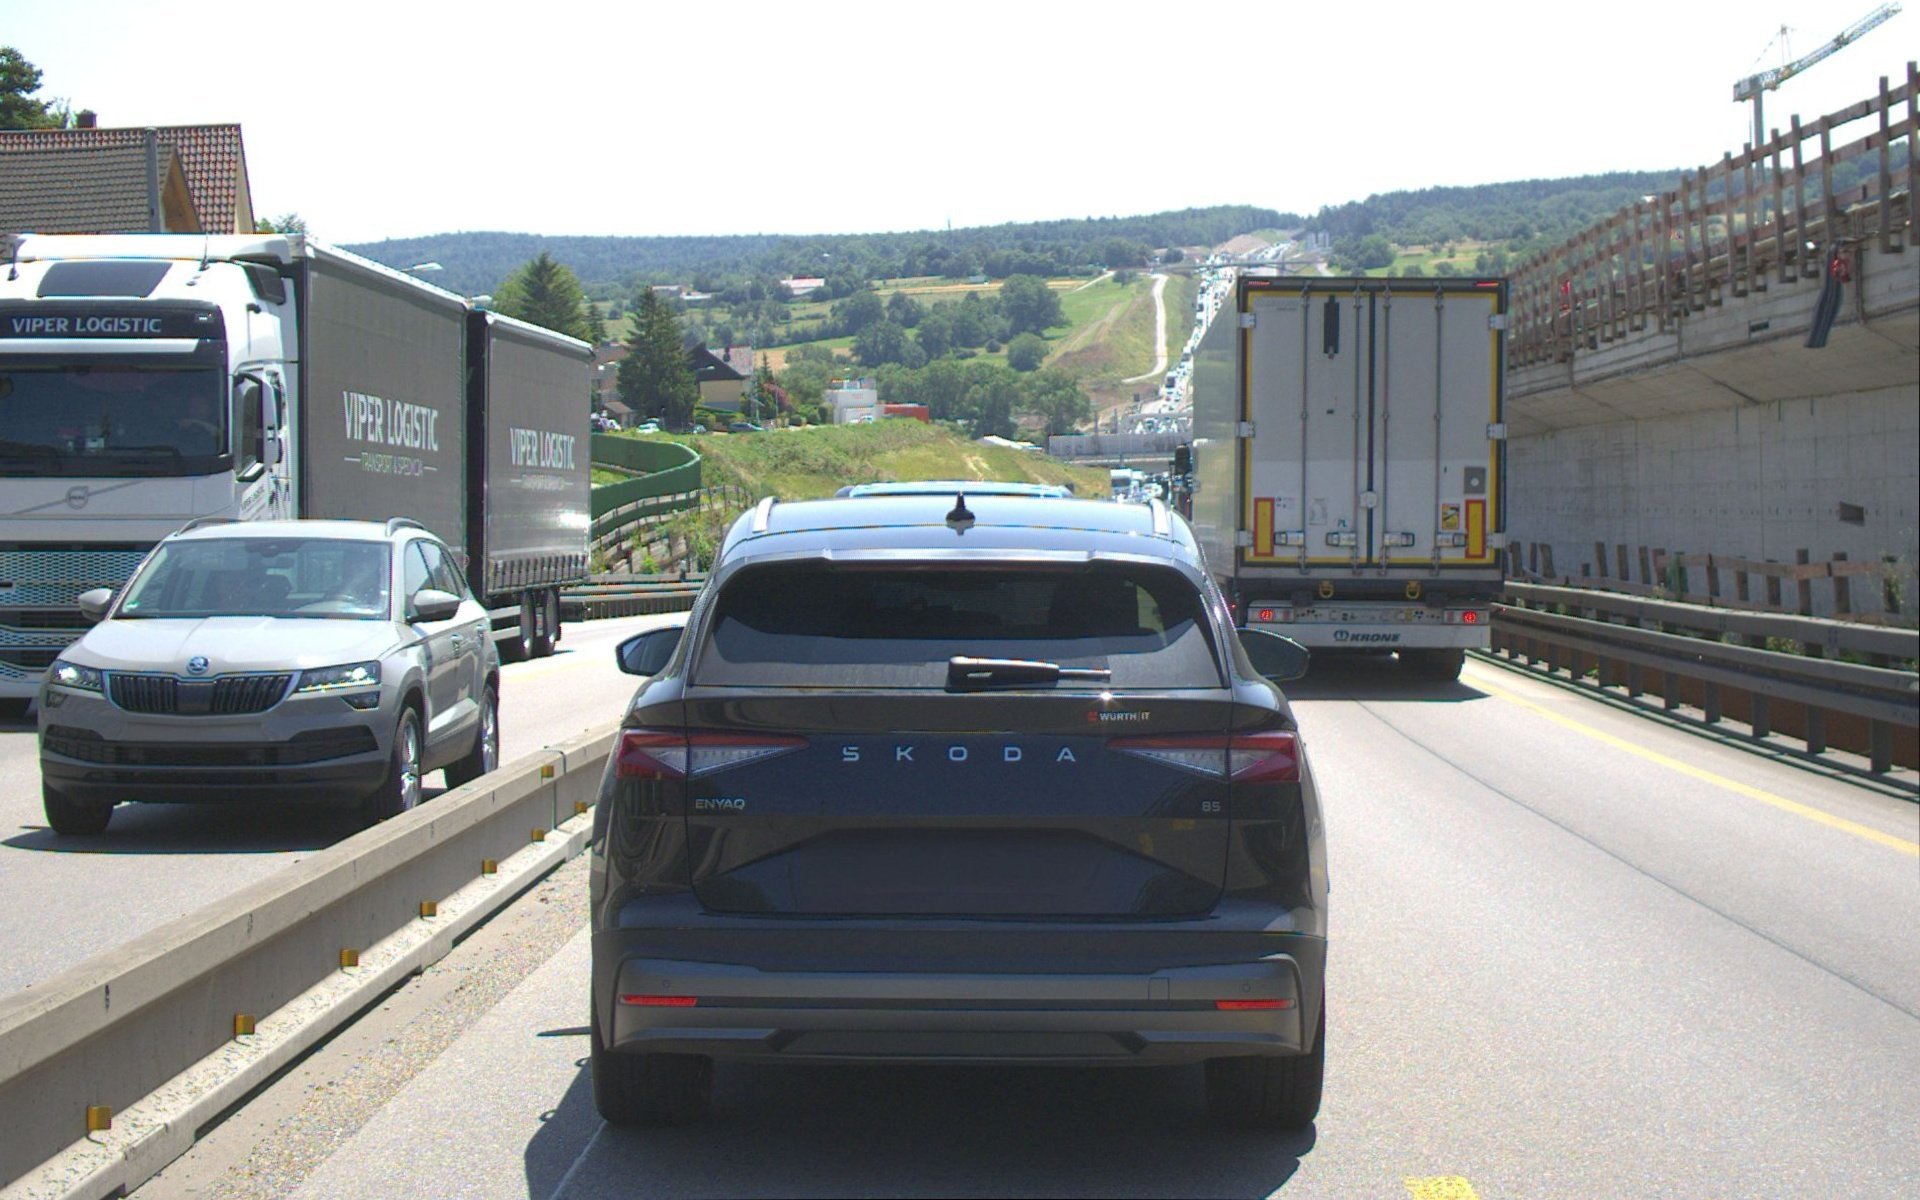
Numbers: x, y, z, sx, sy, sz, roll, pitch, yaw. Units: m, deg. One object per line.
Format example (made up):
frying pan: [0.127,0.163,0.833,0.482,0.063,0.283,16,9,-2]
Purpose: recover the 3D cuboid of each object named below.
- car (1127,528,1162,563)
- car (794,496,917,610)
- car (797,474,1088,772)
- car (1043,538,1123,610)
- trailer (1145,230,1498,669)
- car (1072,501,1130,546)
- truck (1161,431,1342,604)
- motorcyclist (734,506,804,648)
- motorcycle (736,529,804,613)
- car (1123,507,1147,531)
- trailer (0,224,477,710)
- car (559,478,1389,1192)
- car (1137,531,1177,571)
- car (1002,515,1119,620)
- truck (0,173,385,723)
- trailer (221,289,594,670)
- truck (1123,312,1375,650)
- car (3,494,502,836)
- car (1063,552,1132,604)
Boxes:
car: [9.275,-2.733,172.773,1.701,1.722,3.836,1,0,4]
car: [-1.846,-0.818,62.094,2.022,1.953,4.899,1,0,0]
car: [-0.202,0.088,23.841,1.706,1.875,4.001,1,2,-4]
car: [2.953,-0.652,83.305,1.707,1.616,4.001,1,2,-1]
trailer: [3.726,-1.431,38.226,2.531,4.113,11.548,1,0,-1]
car: [5.216,-2.830,127.591,1.993,1.579,3.836,1,0,0]
truck: [5.773,-1.547,70.082,3.195,3.180,12.807,0,0,3]
motorcyclist: [-2.533,-0.315,45.645,0.853,1.848,0.984,1,1,0]
motorcycle: [-2.524,-0.396,45.814,0.786,1.076,1.912,1,1,0]
car: [13.099,-6.083,257.622,1.701,1.722,3.836,1,0,4]
trailer: [-6.716,-1.246,32.940,2.757,4.056,8.007,1,2,2]
car: [-0.112,0.524,9.630,1.842,1.581,3.908,1,0,-4]
car: [8.693,-2.144,151.450,1.701,1.722,3.836,1,0,4]
car: [1.611,-0.558,56.302,1.707,1.616,4.001,1,2,-1]
truck: [-6.804,-1.245,29.344,2.752,4.269,4.957,1,1,2]
trailer: [-6.408,-1.430,41.258,2.757,4.056,8.634,1,2,2]
truck: [3.642,-1.429,45.117,2.513,4.011,8.238,1,0,0]
car: [-3.631,0.305,18.370,1.859,1.605,4.069,1,0,-1]
car: [4.272,-0.671,107.209,1.993,1.579,3.836,1,0,0]
